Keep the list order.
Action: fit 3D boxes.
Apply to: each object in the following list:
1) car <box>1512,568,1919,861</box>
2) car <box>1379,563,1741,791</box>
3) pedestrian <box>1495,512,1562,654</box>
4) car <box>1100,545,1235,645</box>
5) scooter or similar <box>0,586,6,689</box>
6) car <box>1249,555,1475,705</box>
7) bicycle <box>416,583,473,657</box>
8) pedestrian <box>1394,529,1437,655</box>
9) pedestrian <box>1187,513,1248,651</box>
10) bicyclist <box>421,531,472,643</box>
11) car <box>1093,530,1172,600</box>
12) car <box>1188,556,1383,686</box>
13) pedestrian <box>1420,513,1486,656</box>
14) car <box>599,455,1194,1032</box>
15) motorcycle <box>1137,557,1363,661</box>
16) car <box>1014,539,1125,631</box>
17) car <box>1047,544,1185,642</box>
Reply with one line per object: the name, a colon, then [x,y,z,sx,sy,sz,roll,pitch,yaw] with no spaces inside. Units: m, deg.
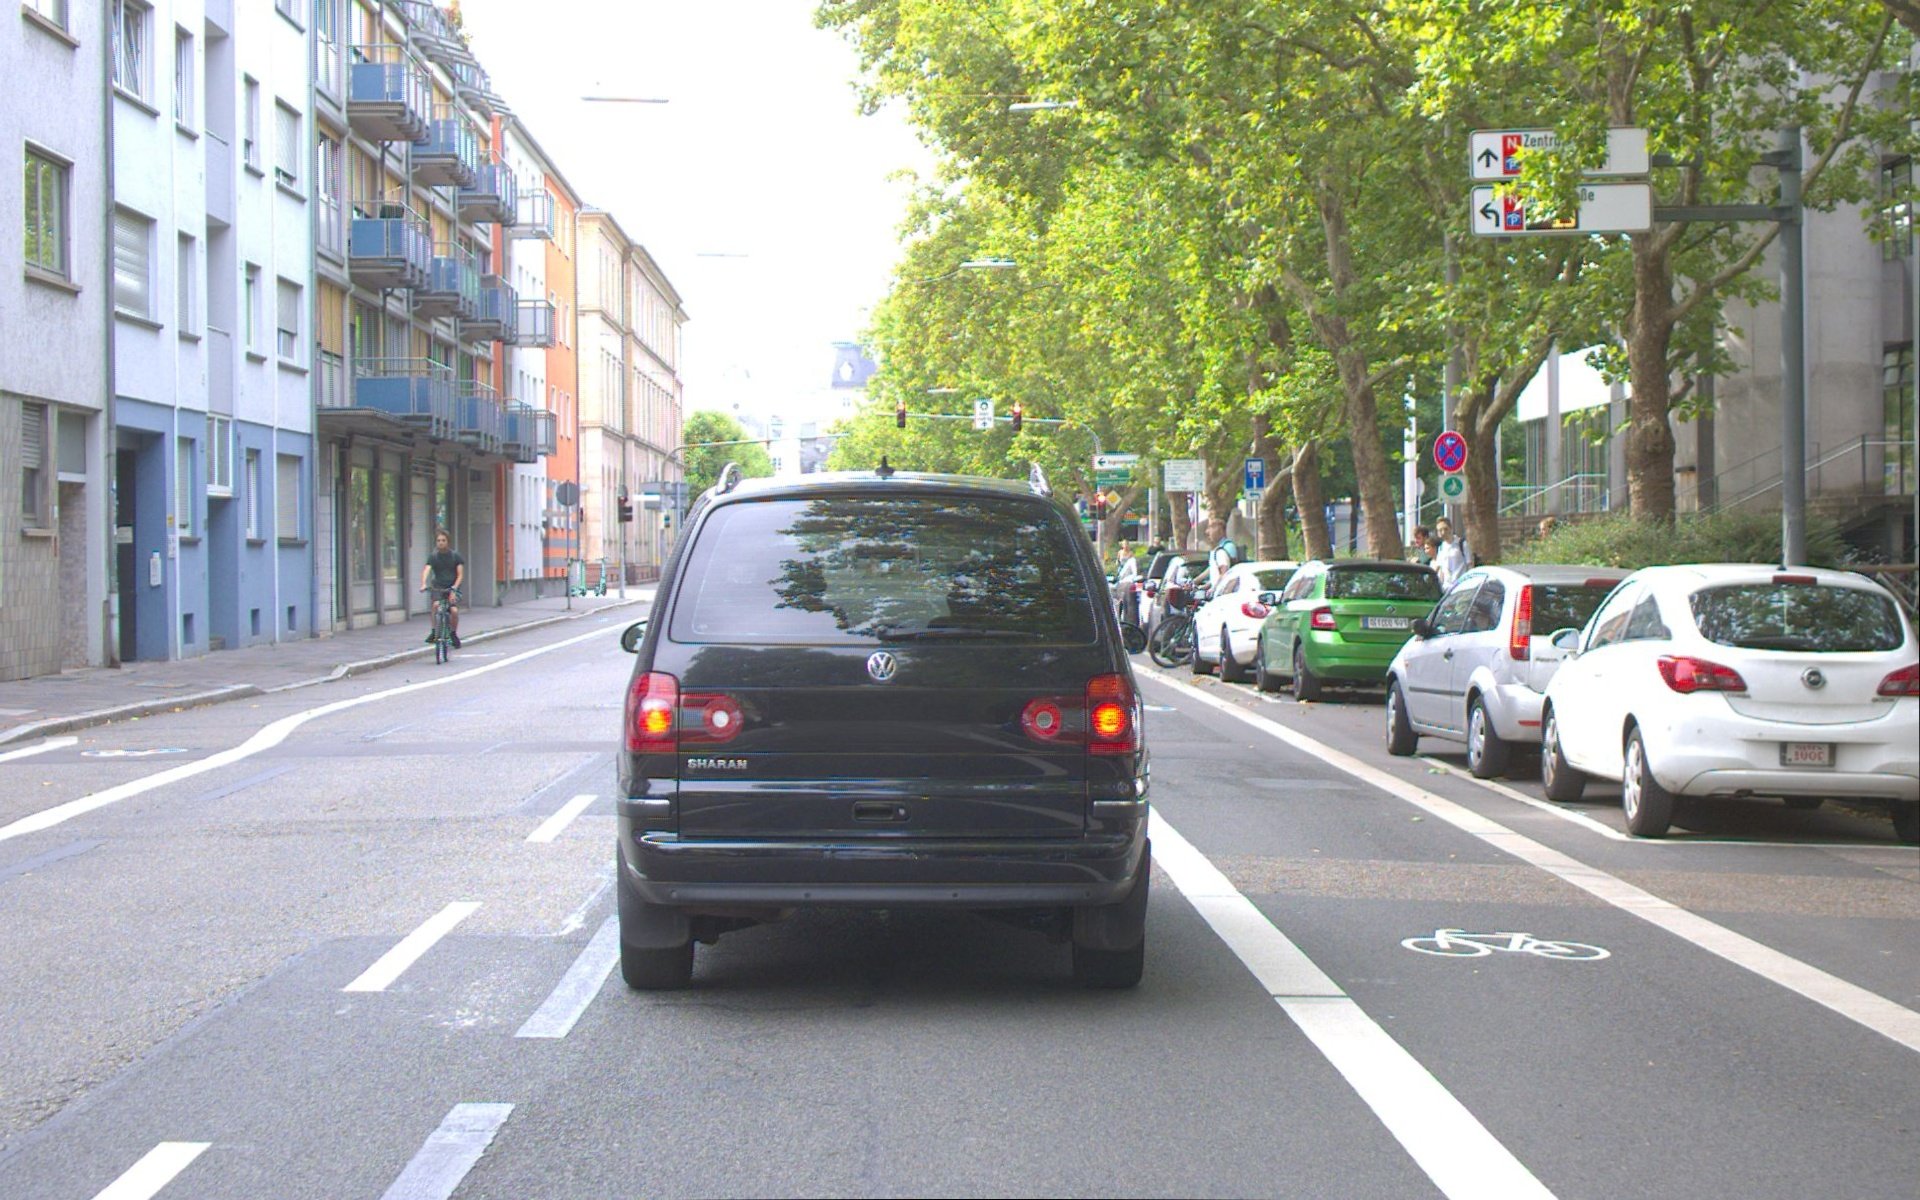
car: [4.386,0.564,19.537,1.675,1.389,4.461,2,1,-1]
car: [4.120,0.486,24.099,1.641,1.408,3.417,2,1,-5]
pedestrian: [7.350,-0.218,44.468,0.767,1.825,0.516,0,1,0]
car: [3.317,-0.105,55.477,1.641,1.482,3.513,2,1,-5]
scooter or similar: [-9.812,0.360,33.599,0.631,1.030,2.015,1,-1,-7]
car: [4.111,0.273,35.635,1.641,1.408,3.417,2,1,-5]
bicycle: [-7.461,0.306,49.799,0.631,1.030,2.015,1,-1,-4]
pedestrian: [6.086,-0.109,45.956,0.510,1.674,0.516,0,1,0]
pedestrian: [3.421,-0.238,45.680,0.767,1.825,0.516,0,1,0]
bicyclist: [-7.456,-0.184,49.917,0.653,1.606,0.656,1,-2,-3]
car: [4.443,-0.921,88.848,1.788,1.766,4.000,0,1,-1]
car: [3.778,0.217,40.397,1.641,1.390,3.513,2,1,-5]
pedestrian: [6.345,-0.202,44.288,0.767,1.825,0.516,0,1,0]
car: [-0.320,0.416,12.417,1.812,1.760,3.738,0,1,-4]
motorcycle: [3.723,0.117,44.265,2.837,1.320,0.765,0,1,-1]
car: [2.049,-0.309,65.242,1.743,1.683,3.805,0,1,-4]
car: [2.690,-0.144,60.117,1.868,1.502,4.001,1,3,-5]
